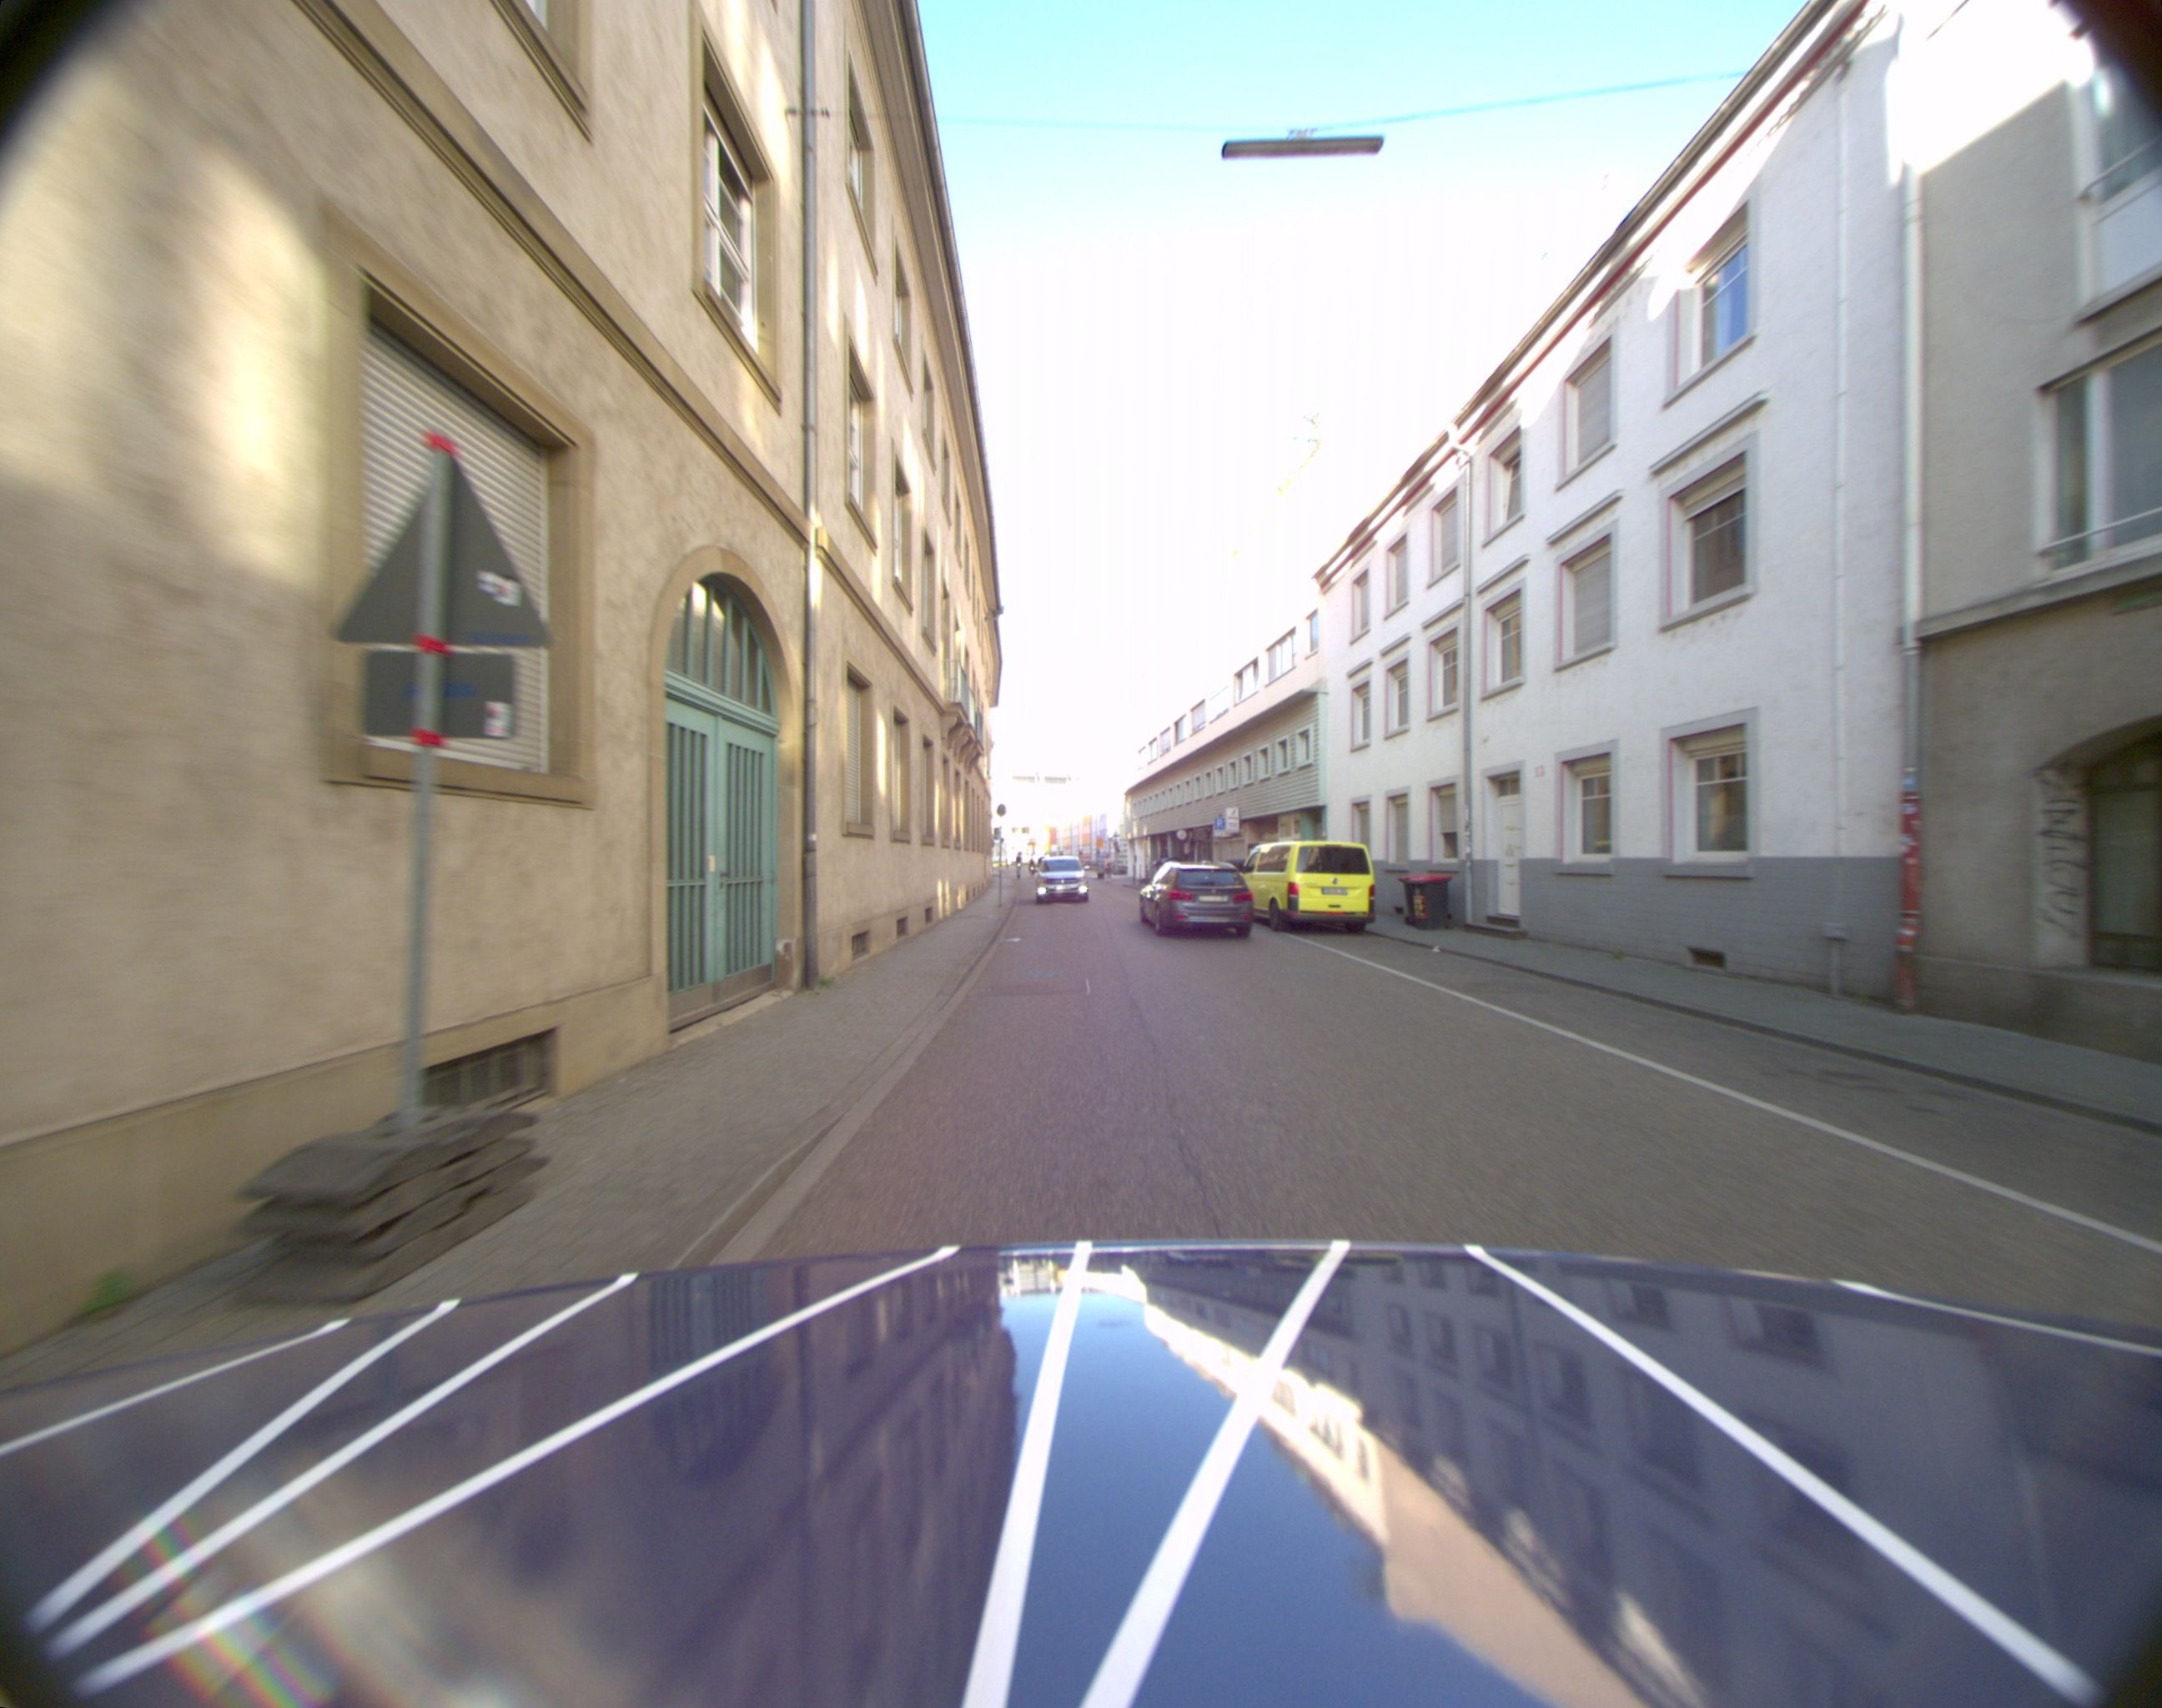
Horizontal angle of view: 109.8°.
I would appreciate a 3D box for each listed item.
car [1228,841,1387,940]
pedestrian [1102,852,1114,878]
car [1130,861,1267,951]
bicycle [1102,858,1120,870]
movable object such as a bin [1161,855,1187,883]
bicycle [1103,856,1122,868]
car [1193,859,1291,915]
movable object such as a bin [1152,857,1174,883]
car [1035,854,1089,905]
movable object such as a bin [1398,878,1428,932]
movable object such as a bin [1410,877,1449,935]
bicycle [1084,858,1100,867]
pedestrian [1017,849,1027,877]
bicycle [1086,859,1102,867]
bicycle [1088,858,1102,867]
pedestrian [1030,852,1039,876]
[{"bbox_3d":[4.877,0.720,17.208,1.885,1.856,4.862,2,0,-2],"label":"car"},{"bbox_3d":[1.750,0.696,49.469,0.494,1.660,0.627,-3,1,-19],"label":"pedestrian"},{"bbox_3d":[2.251,0.944,15.720,1.720,1.569,4.187,0,0,-7],"label":"car"},{"bbox_3d":[3.133,1.059,78.564,1.739,1.094,0.388,-4,1,-14],"label":"bicycle"},{"bbox_3d":[5.050,0.826,41.256,1.126,1.511,1.341,0,-1,-6],"label":"movable object such as a bin"},{"bbox_3d":[3.174,0.836,77.123,1.821,1.094,0.749,-4,1,-7],"label":"bicycle"},{"bbox_3d":[4.826,0.936,23.431,1.824,1.477,4.075,2,0,-4],"label":"car"},{"bbox_3d":[4.627,0.896,43.002,0.971,1.462,1.474,0,-1,-6],"label":"movable object such as a bin"},{"bbox_3d":[-0.681,0.836,26.911,1.683,1.568,4.241,-3,0,-2],"label":"car"},{"bbox_3d":[6.890,1.046,15.763,0.411,1.098,0.433,1,0,0],"label":"movable object such as a bin"},{"bbox_3d":[6.893,1.022,15.043,0.542,1.098,0.433,1,0,0],"label":"movable object such as a bin"},{"bbox_3d":[1.316,0.992,90.904,1.804,0.940,0.388,-4,1,-7],"label":"bicycle"},{"bbox_3d":[-4.233,0.644,54.633,0.678,1.928,0.858,0,0,-7],"label":"pedestrian"},{"bbox_3d":[1.610,1.085,91.635,1.804,0.940,0.388,-4,1,-7],"label":"bicycle"},{"bbox_3d":[1.670,1.072,92.801,1.658,0.940,0.388,-4,1,-7],"label":"bicycle"},{"bbox_3d":[-3.431,0.719,55.696,0.603,1.770,0.651,0,0,-7],"label":"pedestrian"}]
